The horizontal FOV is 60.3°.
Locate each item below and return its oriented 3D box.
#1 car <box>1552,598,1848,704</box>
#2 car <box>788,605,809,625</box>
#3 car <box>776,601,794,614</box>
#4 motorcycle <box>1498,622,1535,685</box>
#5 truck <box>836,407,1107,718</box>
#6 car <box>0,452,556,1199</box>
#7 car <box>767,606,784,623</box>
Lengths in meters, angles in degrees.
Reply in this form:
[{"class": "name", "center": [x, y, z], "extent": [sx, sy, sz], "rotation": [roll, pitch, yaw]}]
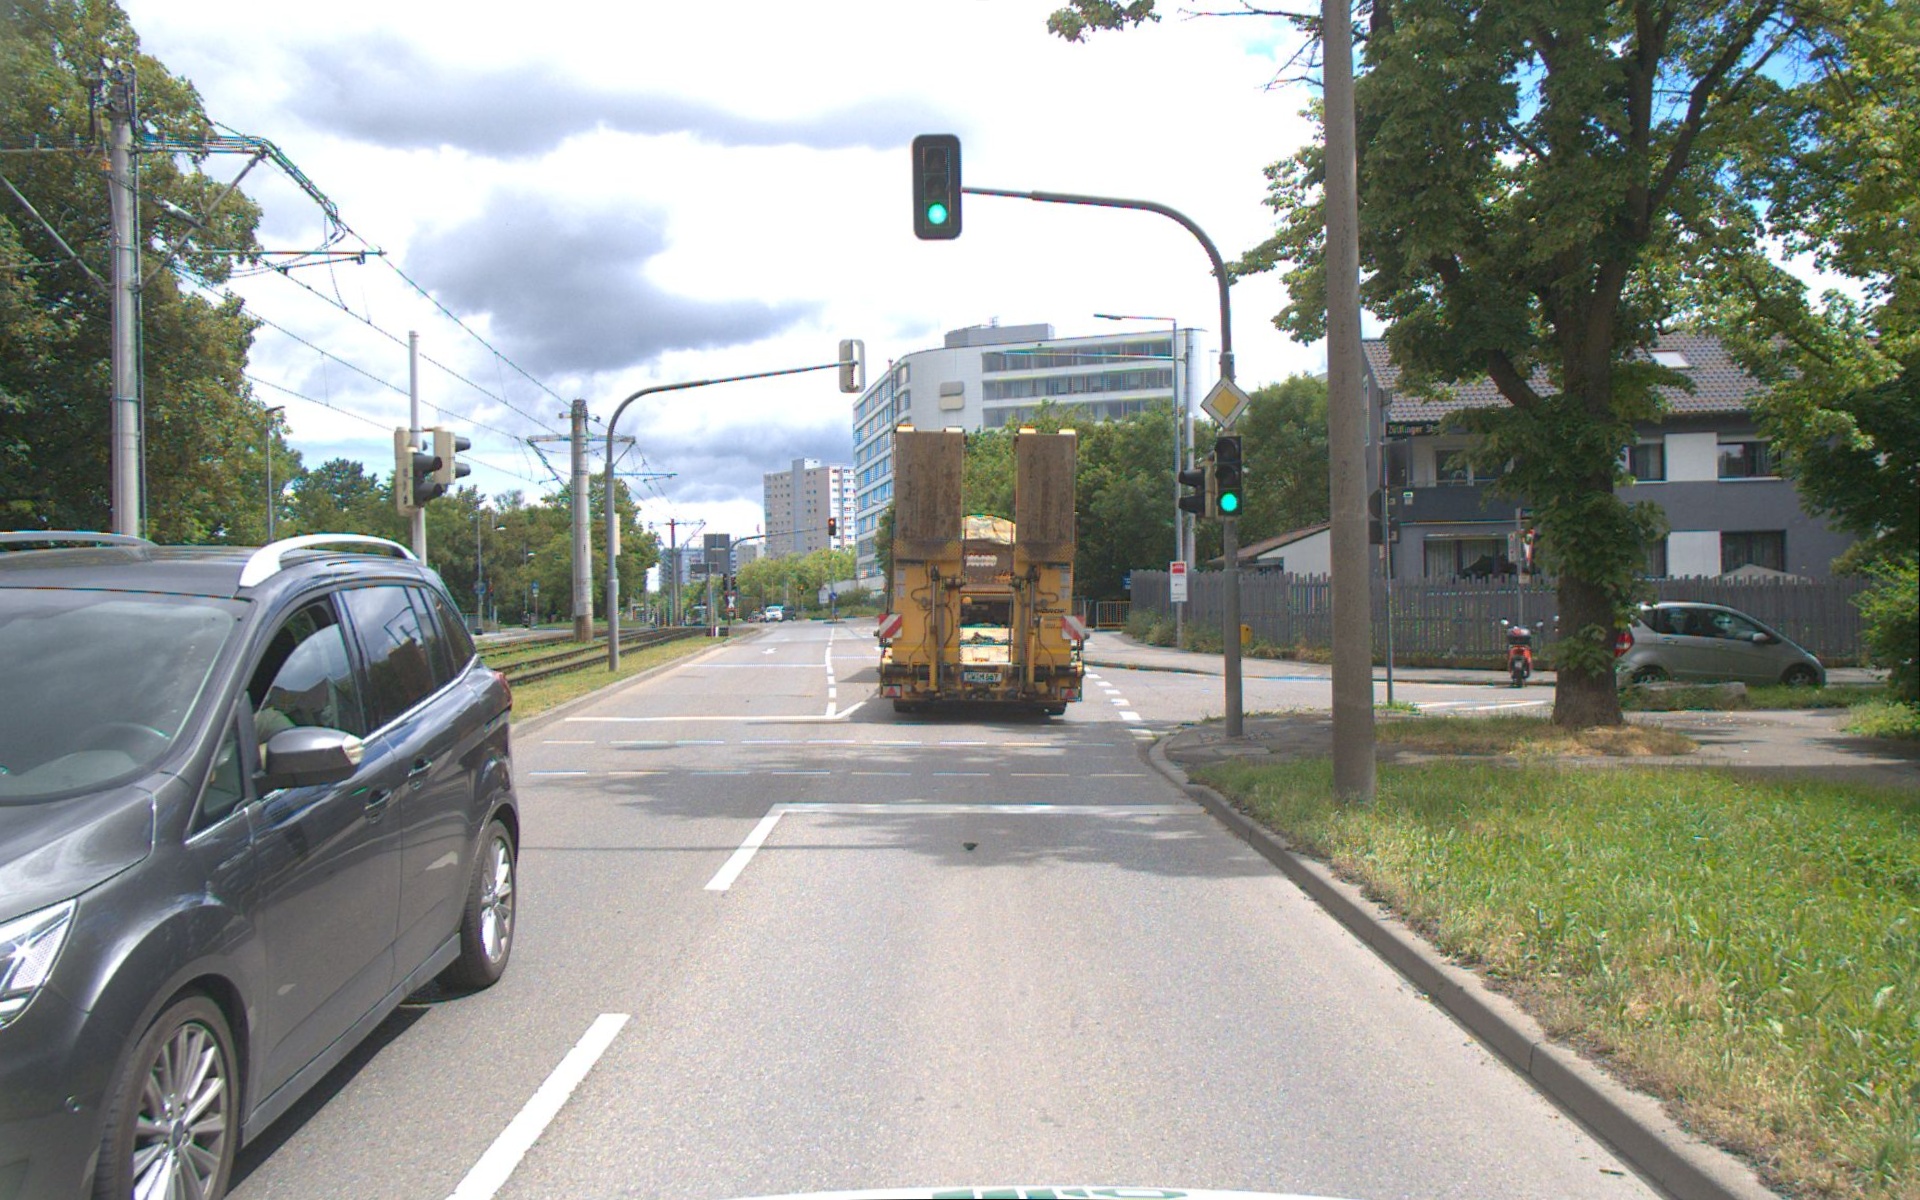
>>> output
[{"class": "car", "center": [11.795, 0.777, 26.496], "extent": [3.912, 1.581, 1.935], "rotation": [0, 0, -9]}, {"class": "car", "center": [-16.137, 1.498, 165.454], "extent": [1.956, 1.959, 3.993], "rotation": [0, -1, -7]}, {"class": "car", "center": [-19.908, 0.896, 188.236], "extent": [1.956, 1.445, 3.993], "rotation": [0, -1, -7]}, {"class": "motorcycle", "center": [10.845, 1.026, 32.285], "extent": [0.645, 1.169, 2.426], "rotation": [0, -1, 18]}, {"class": "truck", "center": [-0.065, -0.389, 26.112], "extent": [3.249, 3.715, 12.556], "rotation": [0, -1, -2]}, {"class": "car", "center": [-2.472, 0.603, 4.825], "extent": [1.673, 1.705, 4.226], "rotation": [0, 0, -2]}, {"class": "car", "center": [-18.404, 1.452, 165.115], "extent": [1.562, 1.553, 3.650], "rotation": [-2, -1, -6]}]
